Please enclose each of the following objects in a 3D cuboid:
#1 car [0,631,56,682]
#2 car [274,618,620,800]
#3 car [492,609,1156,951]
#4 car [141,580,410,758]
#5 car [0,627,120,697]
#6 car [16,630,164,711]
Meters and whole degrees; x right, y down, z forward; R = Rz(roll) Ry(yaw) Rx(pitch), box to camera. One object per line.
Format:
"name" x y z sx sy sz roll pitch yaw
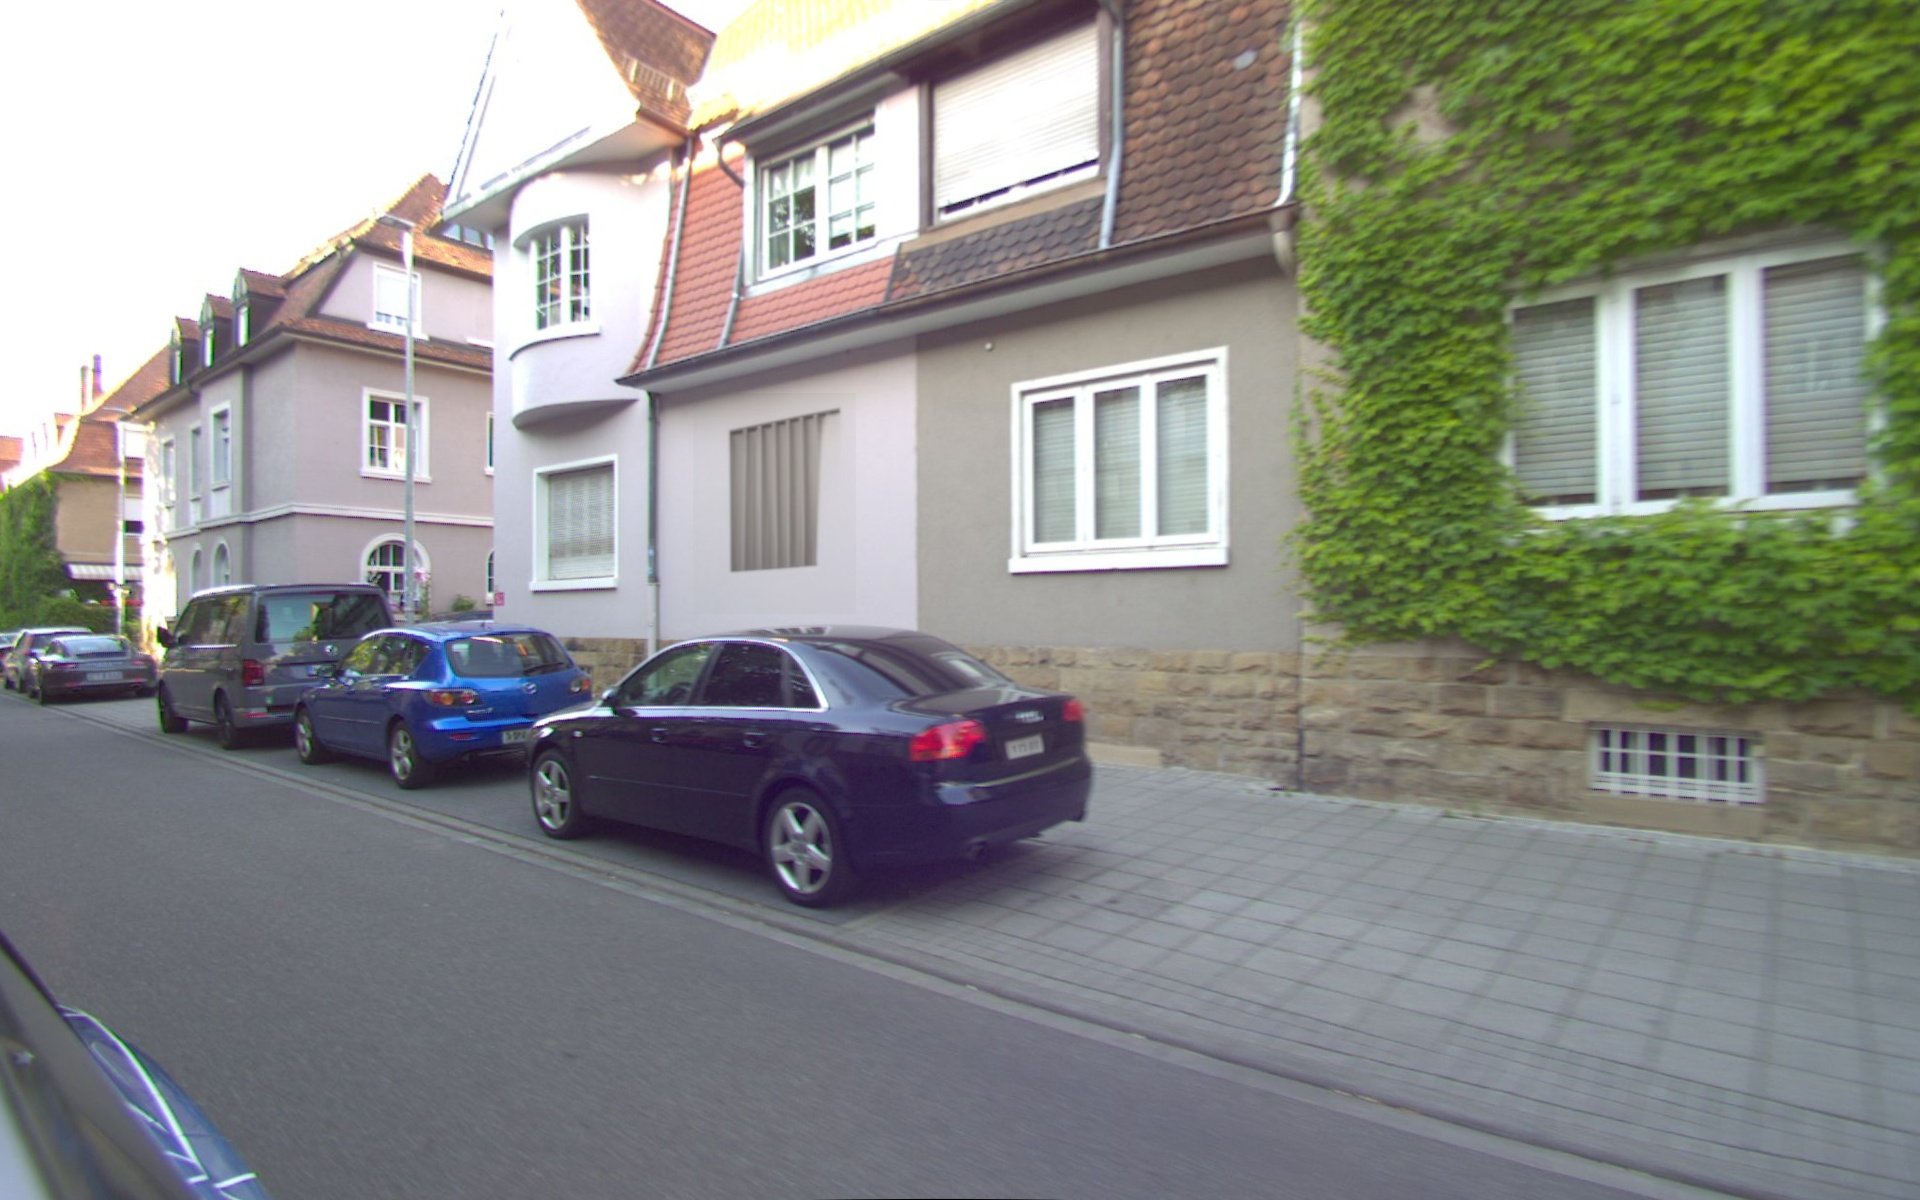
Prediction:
"car" -28.155 1.648 29.982 3.676 1.372 1.641 -2 0 42
"car" -5.390 0.960 10.419 4.059 1.457 1.745 -2 0 41
"car" -1.134 0.846 6.595 4.425 1.457 1.783 -2 0 41
"car" -9.292 0.805 13.573 4.609 1.990 1.819 -2 0 41
"car" -21.982 1.441 24.532 4.061 1.478 1.907 -2 0 42
"car" -17.953 1.369 20.816 4.063 1.394 1.906 -2 0 44
